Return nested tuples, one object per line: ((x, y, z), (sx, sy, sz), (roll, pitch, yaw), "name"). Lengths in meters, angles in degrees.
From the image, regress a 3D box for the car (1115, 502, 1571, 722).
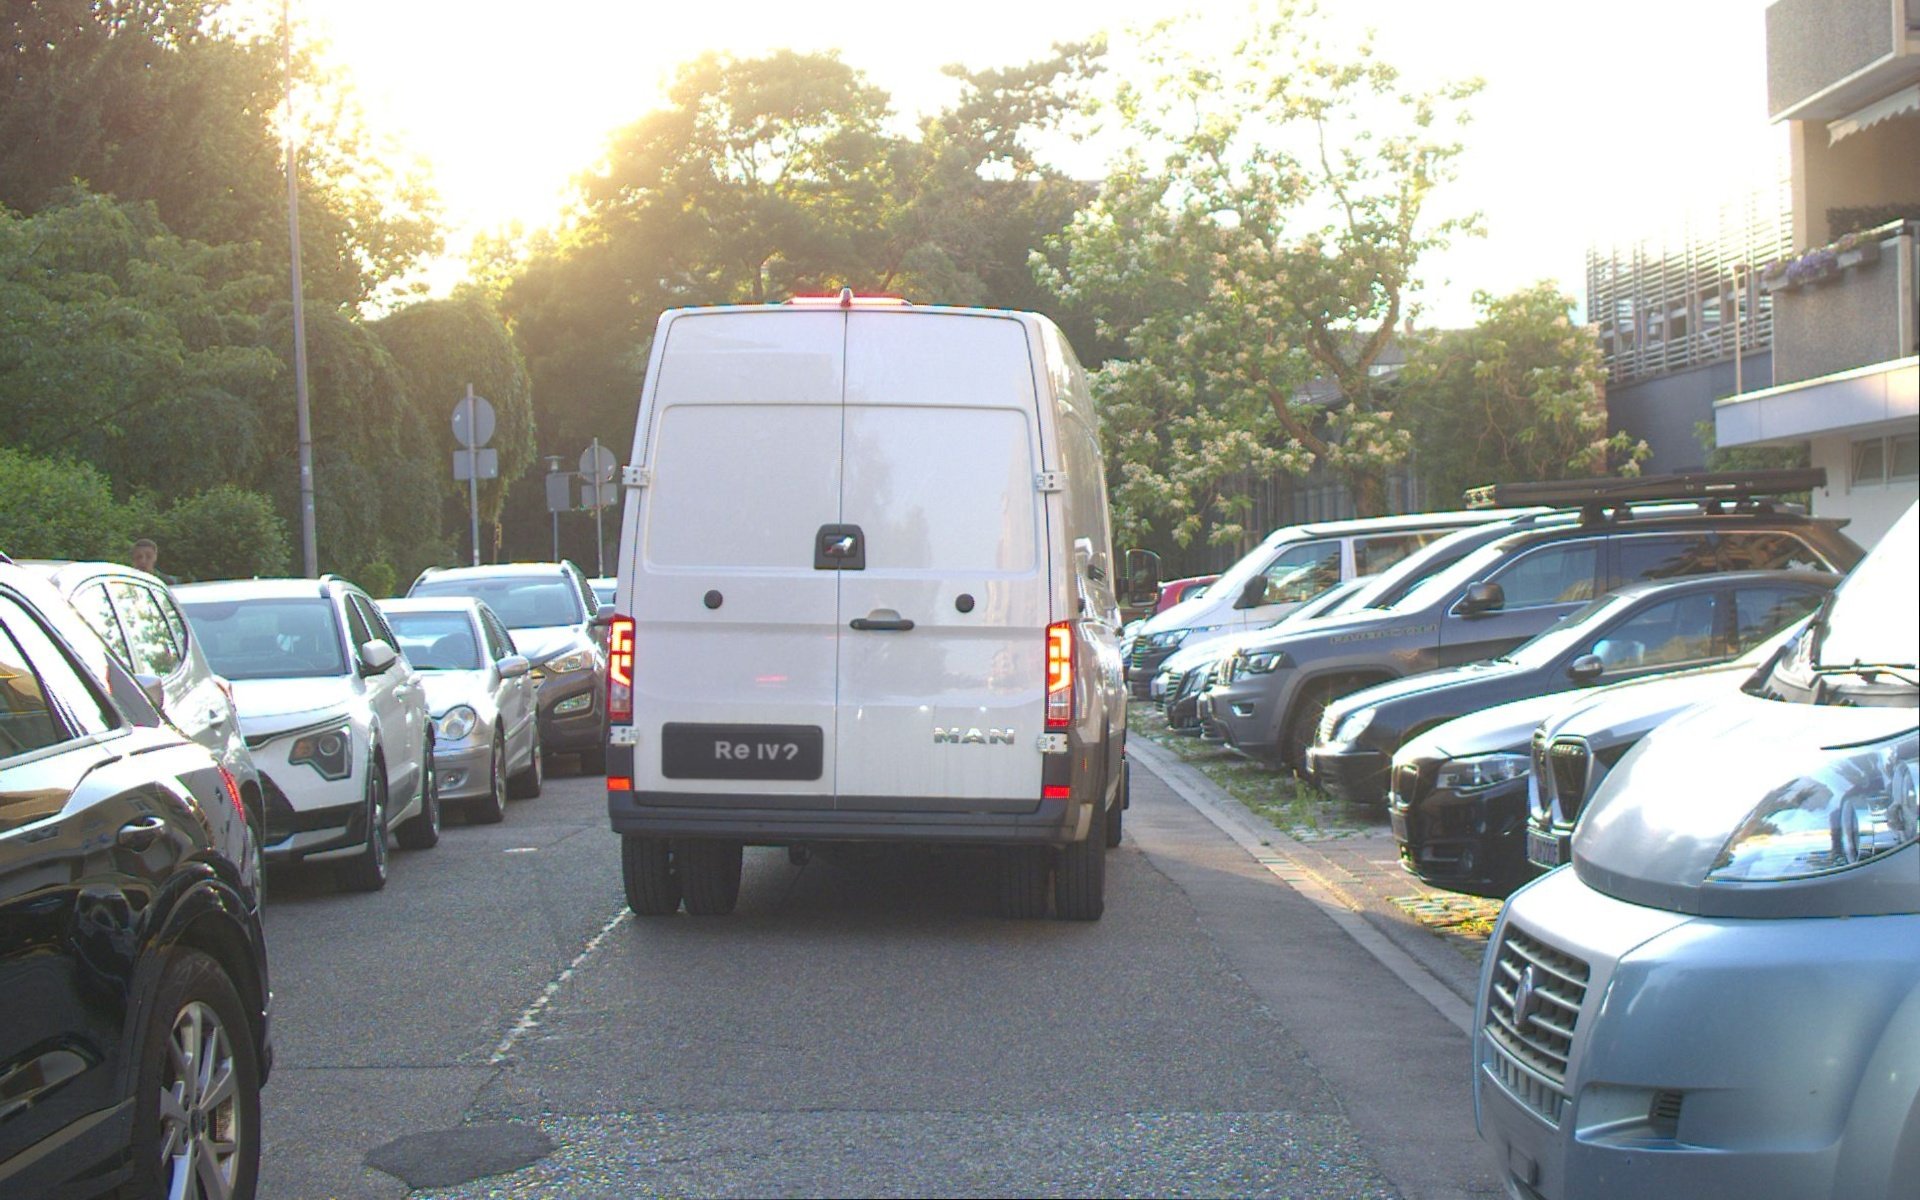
((3.916, 0.111, 35.764), (4.495, 2.223, 2.032), (0, 0, -1), "car")

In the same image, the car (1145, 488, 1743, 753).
((3.988, 0.150, 28.900), (4.705, 2.138, 2.000), (0, 1, -2), "car")

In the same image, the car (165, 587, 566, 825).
((-3.785, 0.628, 22.562), (1.993, 1.393, 4.000), (0, 1, -1), "car")

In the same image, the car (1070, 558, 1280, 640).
((4.289, -0.027, 68.947), (3.986, 1.612, 2.000), (0, 1, -4), "car")

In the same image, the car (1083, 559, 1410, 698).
((3.585, 0.345, 43.634), (3.987, 1.722, 2.000), (0, 0, 0), "car")

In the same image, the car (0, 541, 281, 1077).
((-3.789, 0.664, 12.198), (1.783, 1.625, 4.000), (-3, 0, 2), "car")

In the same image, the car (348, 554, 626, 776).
((-3.735, 0.467, 27.783), (1.993, 1.656, 4.001), (0, 1, -5), "car")

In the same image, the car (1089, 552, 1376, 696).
((3.848, 0.329, 49.168), (3.987, 2.007, 2.000), (0, 0, 1), "car")

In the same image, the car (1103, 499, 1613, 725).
((3.815, 0.099, 33.578), (4.705, 2.138, 2.000), (0, 1, -2), "car")

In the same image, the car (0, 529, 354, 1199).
((-2.562, 0.687, 5.644), (1.805, 1.564, 4.564), (-1, 0, 7), "car")

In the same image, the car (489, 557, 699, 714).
((-3.906, 0.342, 37.303), (1.993, 1.612, 4.000), (0, 1, -2), "car")

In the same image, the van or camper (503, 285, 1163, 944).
((-0.327, 0.020, 16.465), (2.454, 2.538, 6.082), (1, 1, 4), "van or camper")

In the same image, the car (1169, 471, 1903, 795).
((3.889, 0.203, 23.795), (4.705, 2.138, 2.000), (0, 1, -2), "car")

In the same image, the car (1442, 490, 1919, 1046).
((4.100, 0.461, 11.985), (4.433, 1.722, 1.773), (-2, 1, -6), "car")

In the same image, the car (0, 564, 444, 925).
((-3.777, 0.632, 17.463), (1.856, 1.549, 4.100), (-2, 1, -3), "car")

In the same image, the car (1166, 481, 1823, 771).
((4.026, 0.176, 26.473), (4.705, 2.138, 2.000), (0, 1, -2), "car")

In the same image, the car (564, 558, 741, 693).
((-3.792, 0.285, 43.022), (1.993, 1.612, 4.000), (0, 1, -2), "car")

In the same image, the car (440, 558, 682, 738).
((-3.754, 0.410, 32.991), (1.993, 1.612, 4.000), (0, 1, -2), "car")

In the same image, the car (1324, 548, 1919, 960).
((3.708, 0.543, 14.445), (3.986, 1.449, 1.836), (-4, 1, -4), "car")

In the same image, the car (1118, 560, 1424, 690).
((4.176, 0.324, 46.673), (3.987, 1.722, 2.000), (0, 0, 0), "car")

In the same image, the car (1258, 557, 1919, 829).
((4.063, 0.538, 21.150), (4.236, 1.420, 1.719), (-3, 0, -1), "car")

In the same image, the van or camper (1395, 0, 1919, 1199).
((3.938, 0.044, 6.525), (5.928, 2.760, 2.110), (0, 0, -1), "van or camper")
